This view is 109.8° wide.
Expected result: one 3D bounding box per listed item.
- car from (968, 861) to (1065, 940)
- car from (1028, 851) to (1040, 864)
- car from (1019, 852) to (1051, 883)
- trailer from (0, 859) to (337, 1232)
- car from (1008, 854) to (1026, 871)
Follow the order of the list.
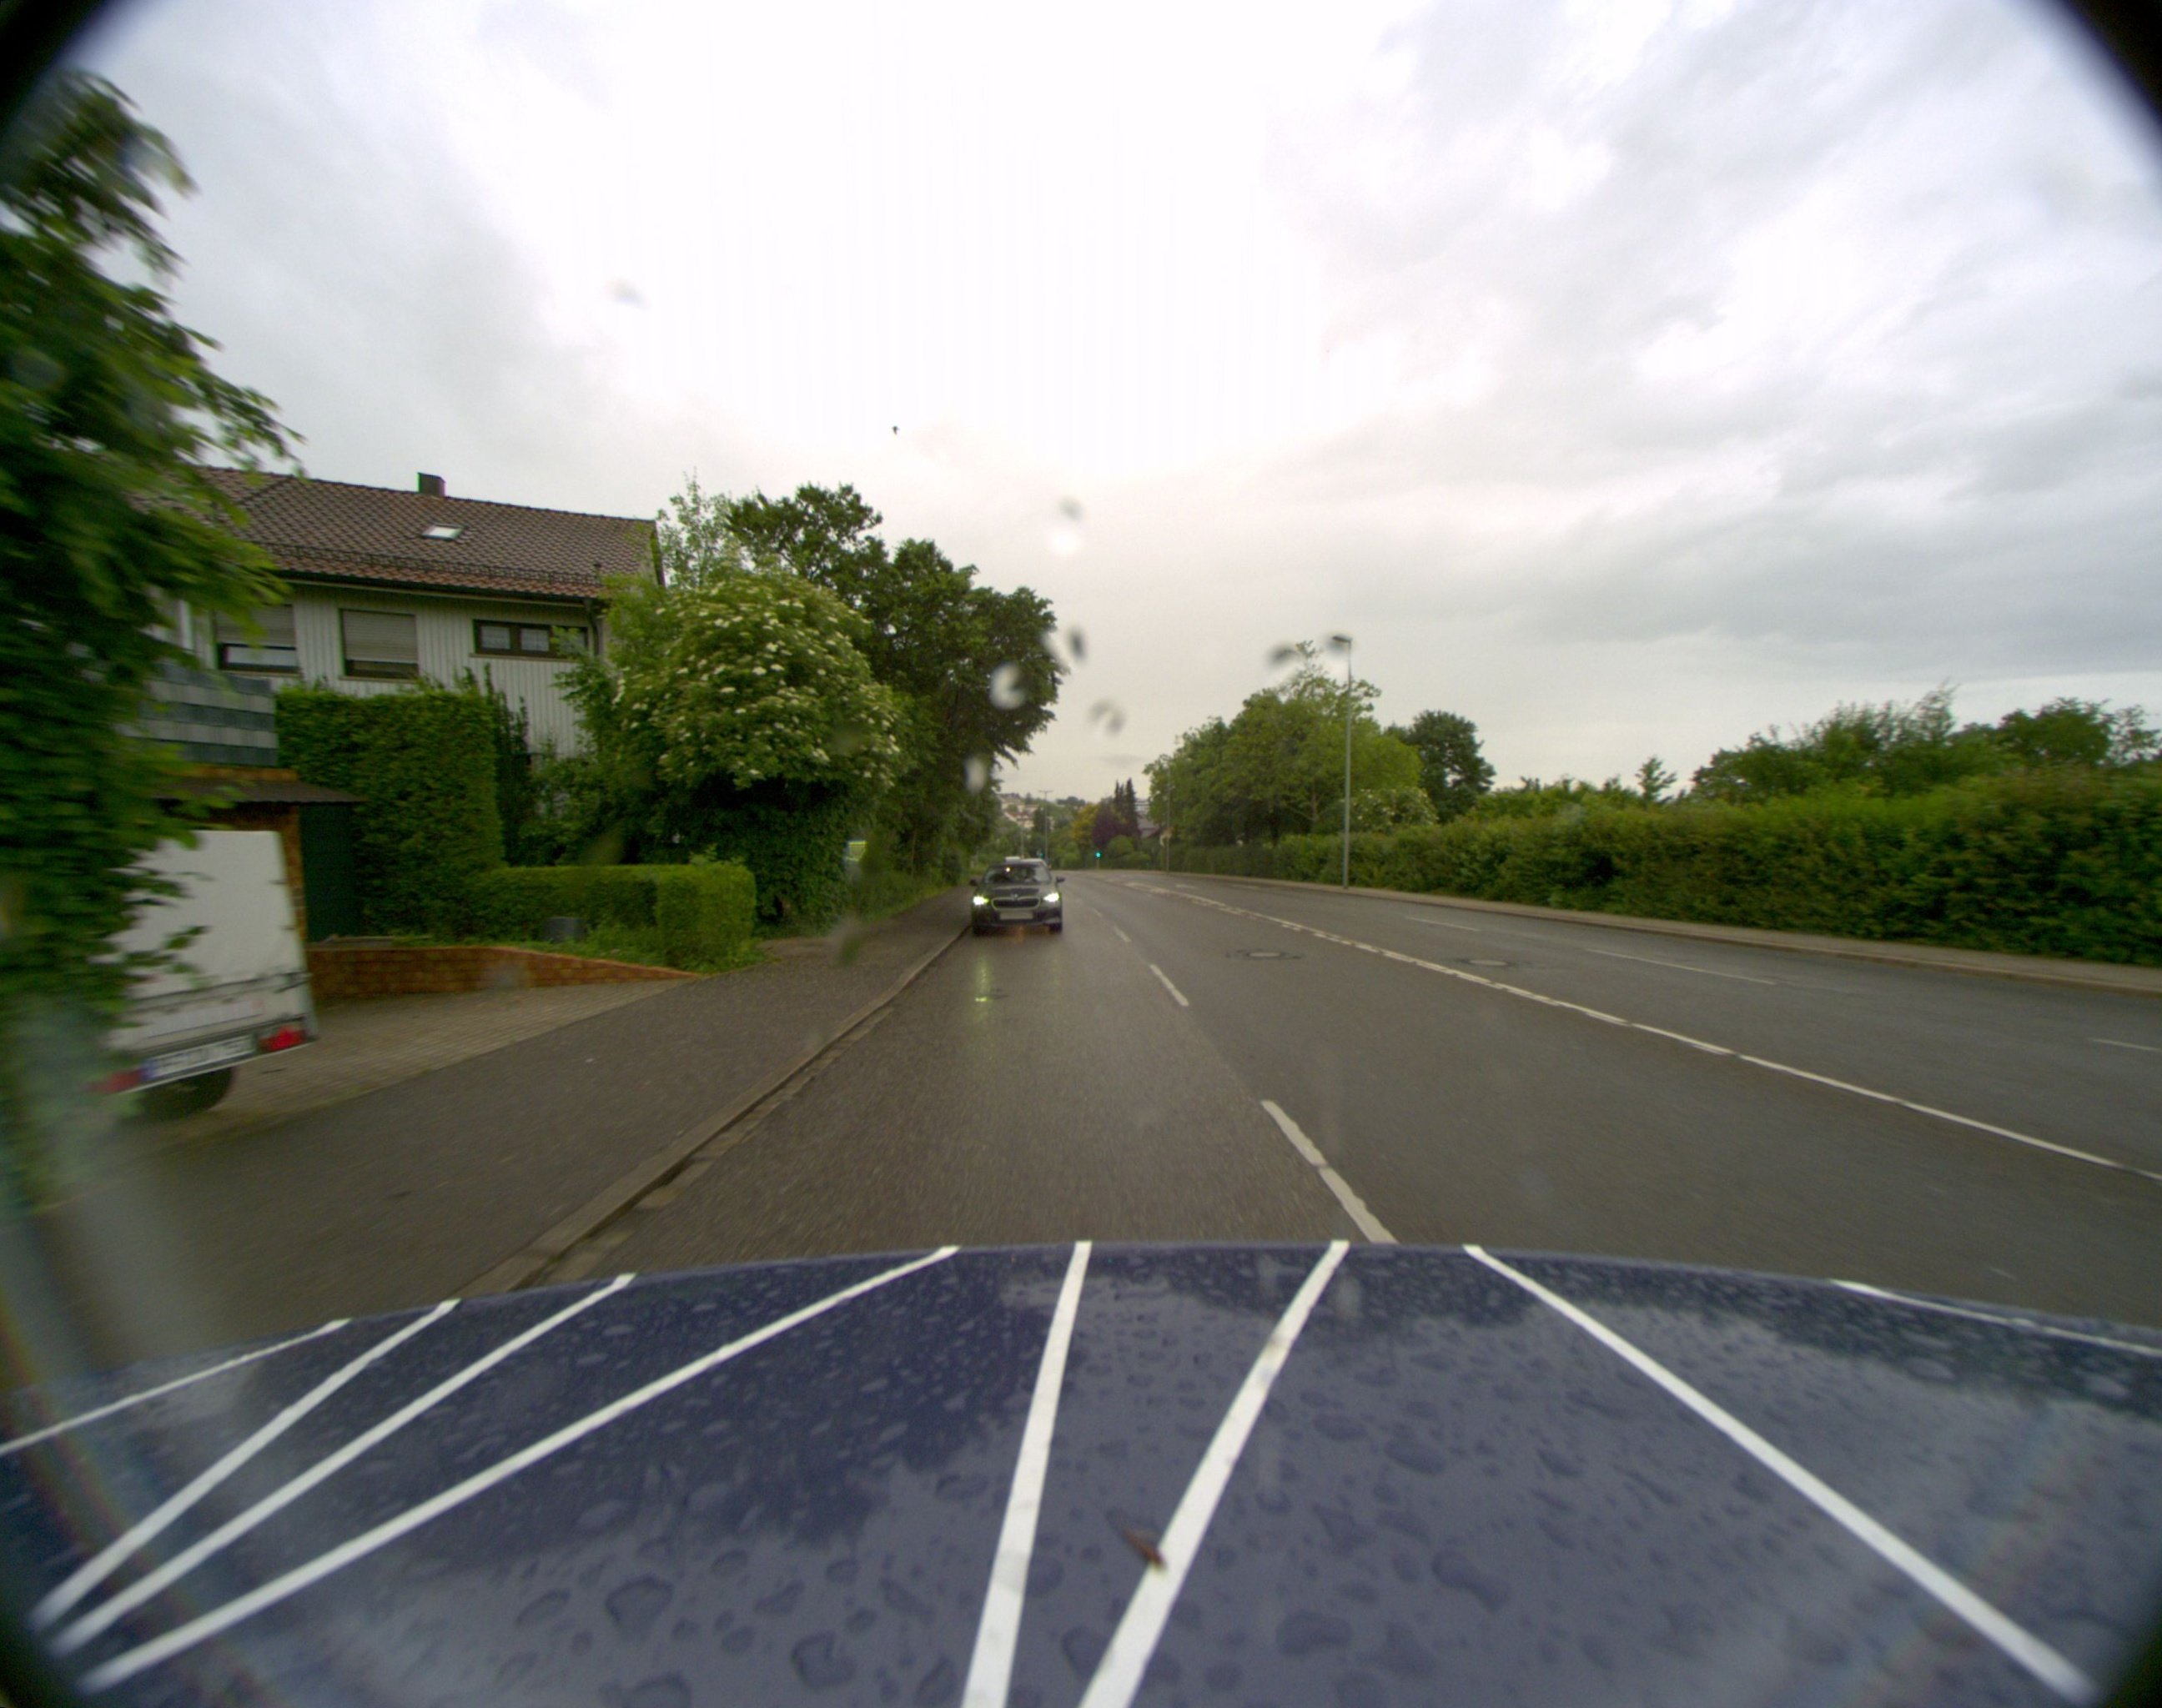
[{"bbox_3d":[-1.341,0.936,17.152,1.846,1.371,4.281,-3,1,-2],"label":"car"},{"bbox_3d":[-7.107,0.518,114.673,1.551,1.812,4.281,0,0,-5],"label":"car"},{"bbox_3d":[-2.368,0.639,38.662,1.551,1.505,4.281,0,0,-4],"label":"car"},{"bbox_3d":[-6.152,1.030,3.869,2.988,1.561,1.488,-8,1,-2],"label":"trailer"},{"bbox_3d":[-6.499,0.844,76.612,1.704,1.670,4.280,-1,0,-6],"label":"car"}]
